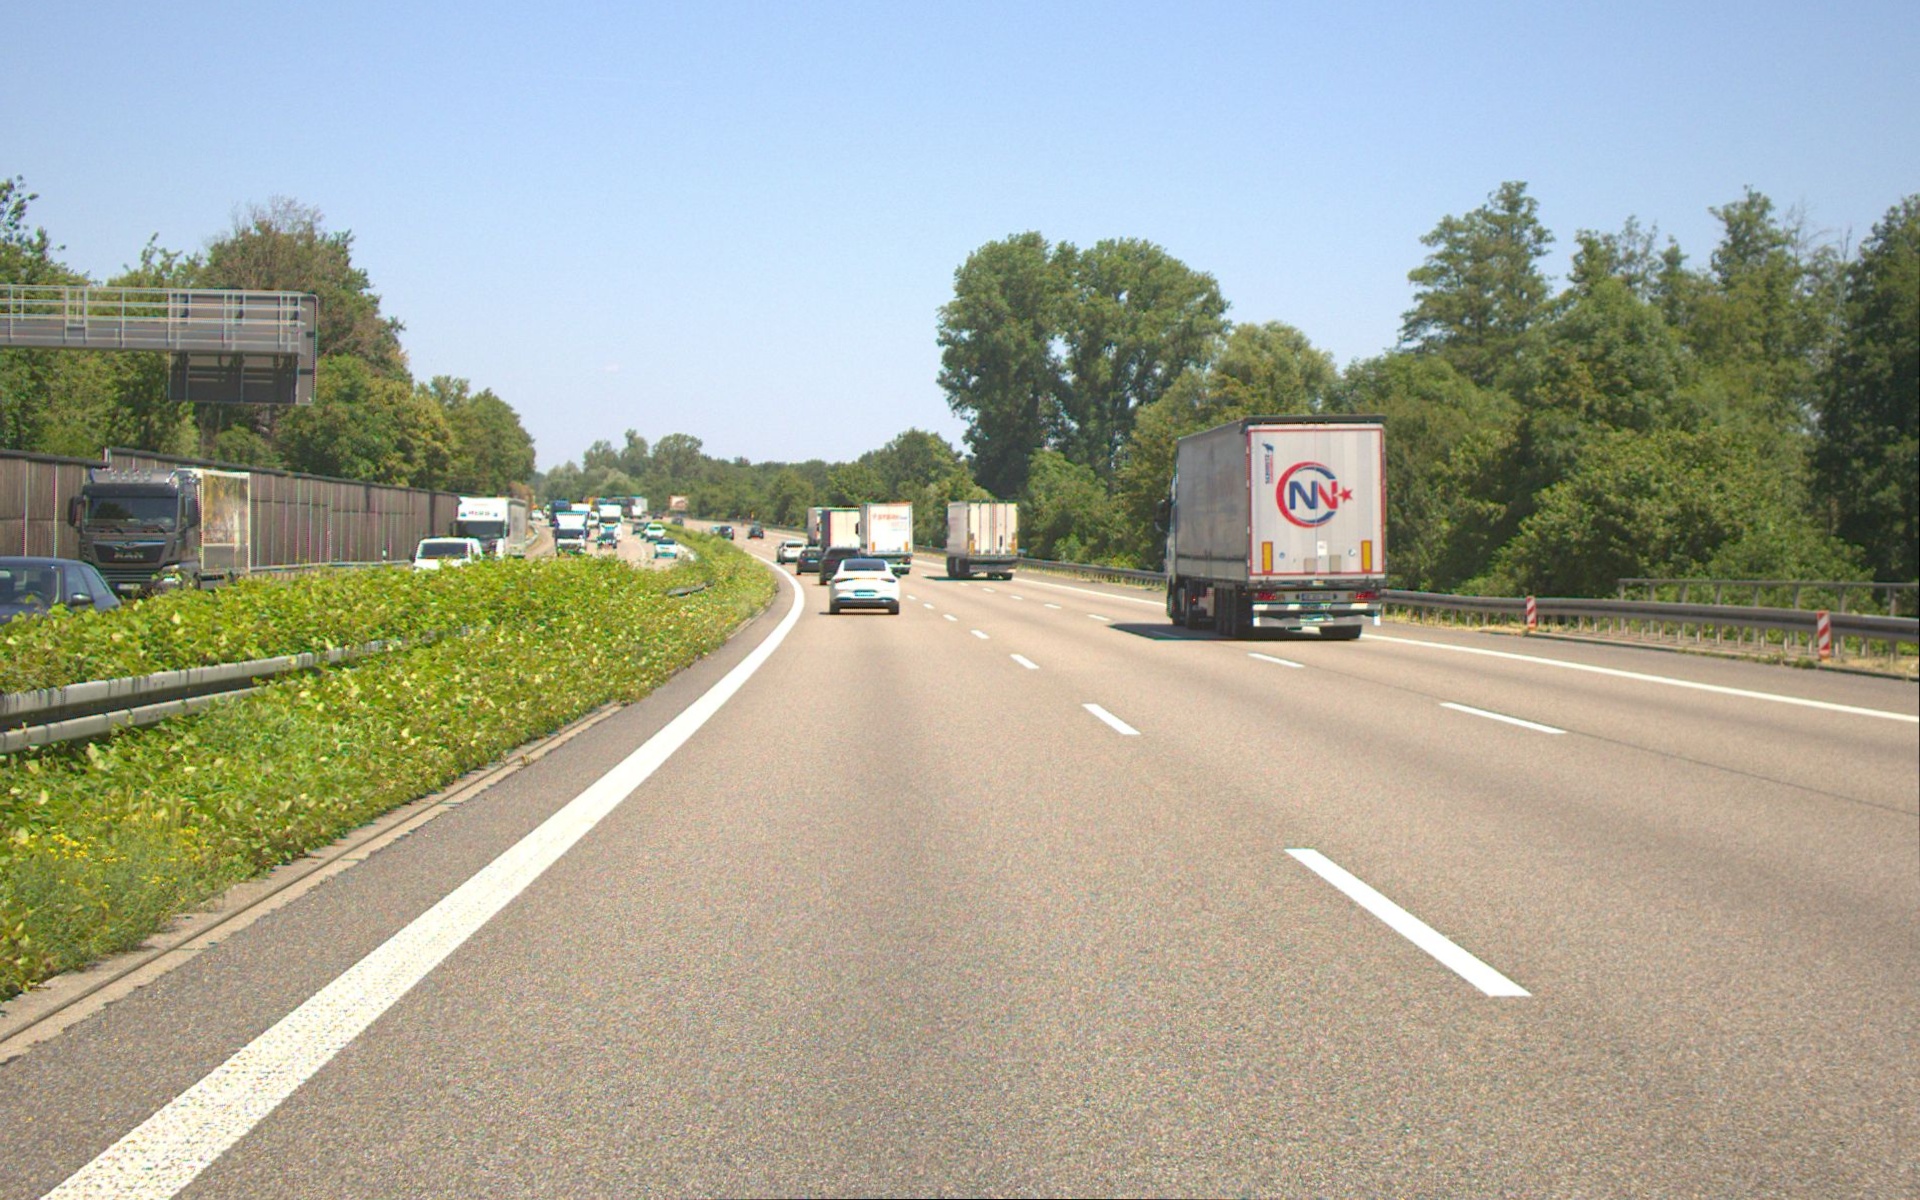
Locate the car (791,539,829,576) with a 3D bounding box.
[{"bbox_3d":[-8.429,-2.380,192.570,1.993,2.007,4.001,0,1,-5],"label":"car"}]

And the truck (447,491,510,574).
[{"bbox_3d":[-24.129,-3.394,172.596,2.519,4.052,6.372,0,1,-3],"label":"truck"}]

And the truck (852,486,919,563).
[{"bbox_3d":[-4.392,-4.337,199.165,3.359,4.296,10.830,0,1,-4],"label":"truck"}]

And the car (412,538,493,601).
[{"bbox_3d":[-16.440,-1.006,111.533,1.993,2.007,5.102,0,1,-1],"label":"car"}]

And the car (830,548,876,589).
[{"bbox_3d":[-4.813,-1.427,154.214,1.993,1.766,4.001,0,1,-3],"label":"car"}]

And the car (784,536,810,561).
[{"bbox_3d":[-11.599,-3.665,244.611,1.723,1.776,4.001,0,1,-5],"label":"car"}]

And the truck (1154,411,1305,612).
[{"bbox_3d":[5.897,-1.934,76.056,2.605,4.272,5.436,0,1,-3],"label":"truck"}]

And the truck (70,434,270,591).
[{"bbox_3d":[-19.215,-2.081,84.243,2.870,3.593,9.953,0,1,-2],"label":"truck"}]

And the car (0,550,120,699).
[{"bbox_3d":[-9.553,0.201,34.090,1.625,1.385,3.914,0,1,-2],"label":"car"}]

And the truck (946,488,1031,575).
[{"bbox_3d":[1.373,-3.507,175.981,3.492,4.296,10.990,0,1,-4],"label":"truck"}]

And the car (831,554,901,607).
[{"bbox_3d":[-2.466,-0.539,90.754,1.715,1.365,3.375,0,1,0],"label":"car"}]

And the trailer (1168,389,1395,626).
[{"bbox_3d":[6.230,-1.783,69.057,2.624,4.246,14.062,0,1,-2],"label":"trailer"}]
